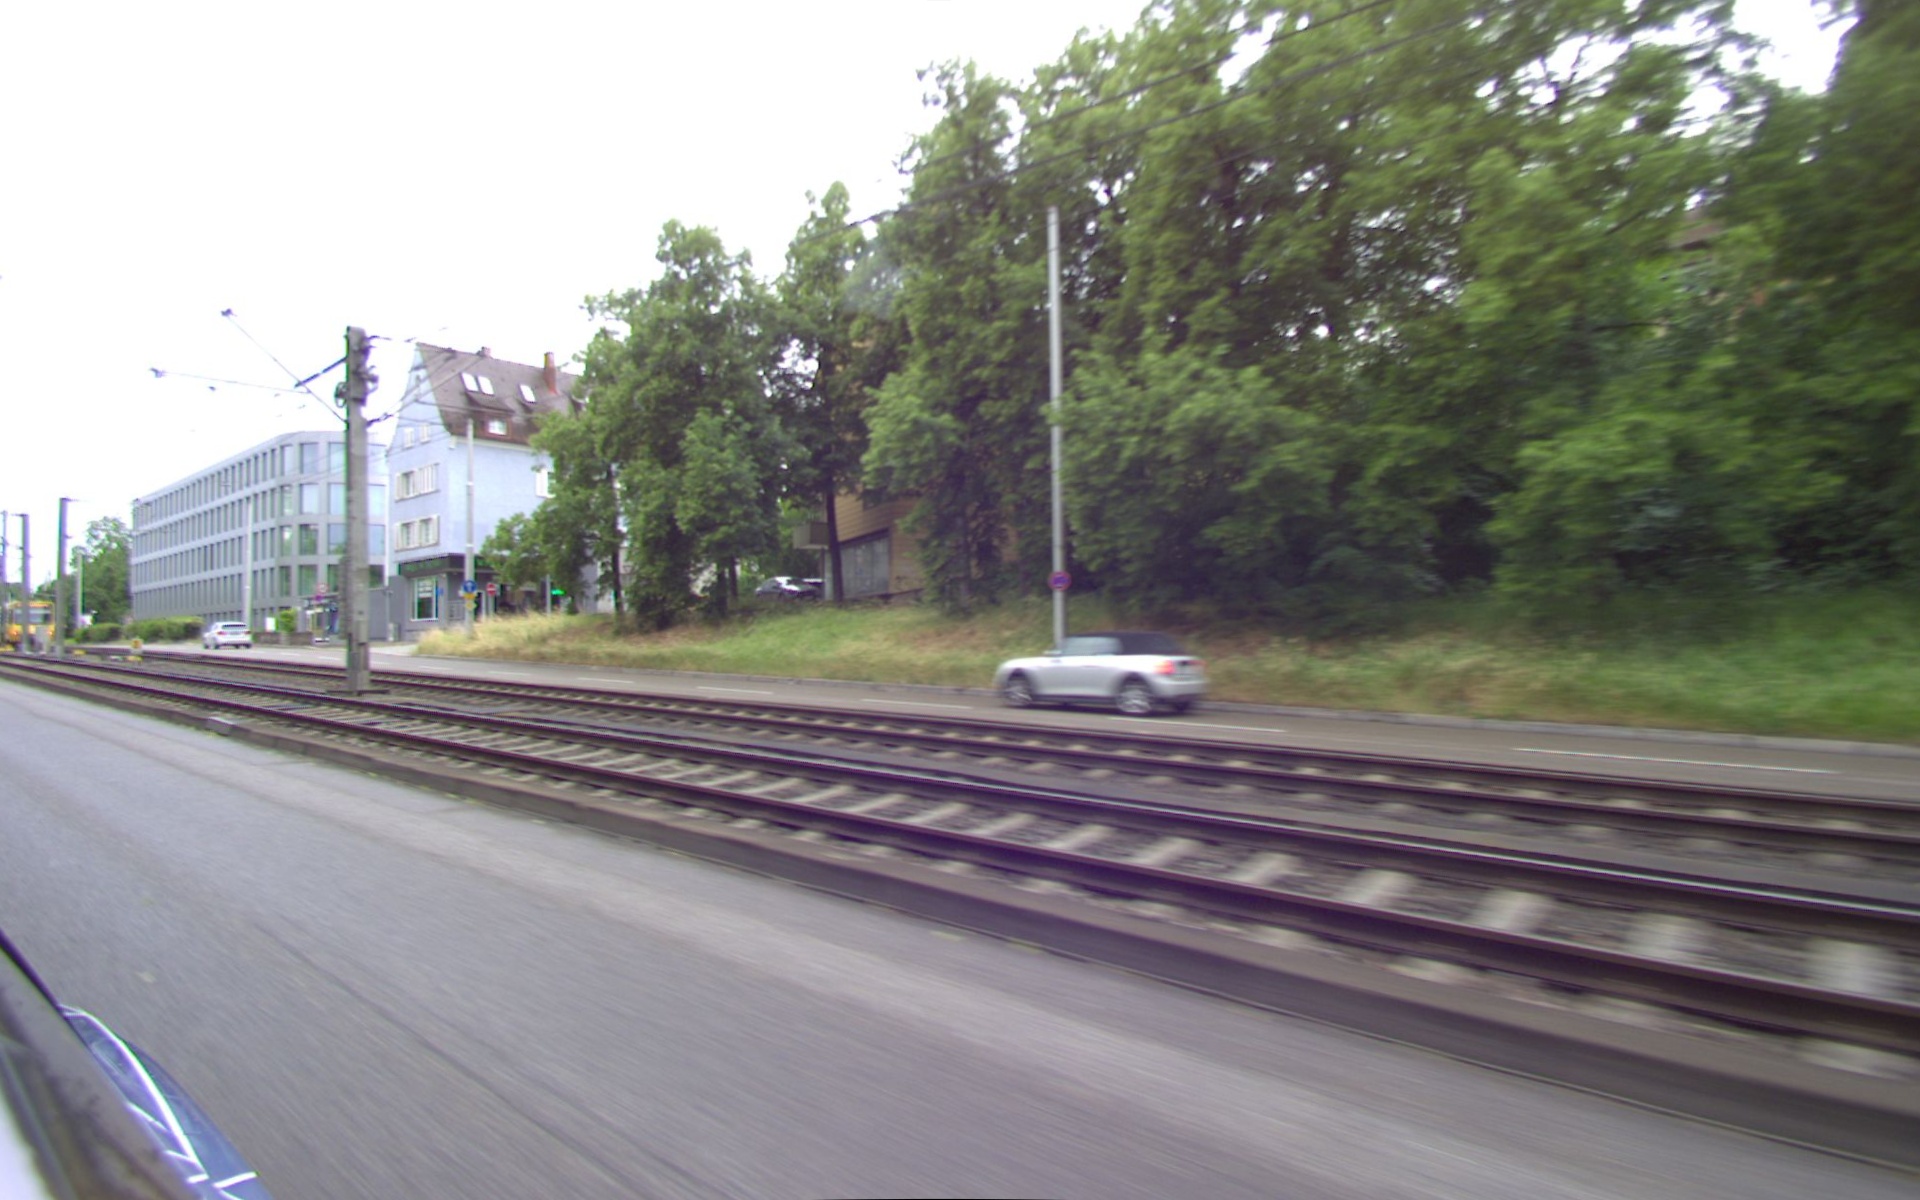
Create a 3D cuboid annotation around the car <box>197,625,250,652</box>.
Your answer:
[{"bbox_3d":[-43.890,2.262,60.284,4.379,1.541,1.635,-2,-2,42],"label":"car"}]

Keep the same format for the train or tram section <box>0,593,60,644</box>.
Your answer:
[{"bbox_3d":[-78.191,1.689,83.962,19.511,3.840,2.936,-2,-2,42],"label":"train or tram section"}]

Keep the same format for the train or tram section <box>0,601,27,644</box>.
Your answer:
[{"bbox_3d":[-91.894,2.274,96.030,19.088,3.840,2.936,-2,-2,41],"label":"train or tram section"}]

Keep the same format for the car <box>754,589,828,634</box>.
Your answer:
[{"bbox_3d":[-8.078,0.573,48.033,1.934,2.029,4.228,1,-2,-33],"label":"car"}]

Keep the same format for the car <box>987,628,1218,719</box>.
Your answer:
[{"bbox_3d":[2.452,1.238,17.955,3.907,1.447,1.460,-1,-4,41],"label":"car"}]
